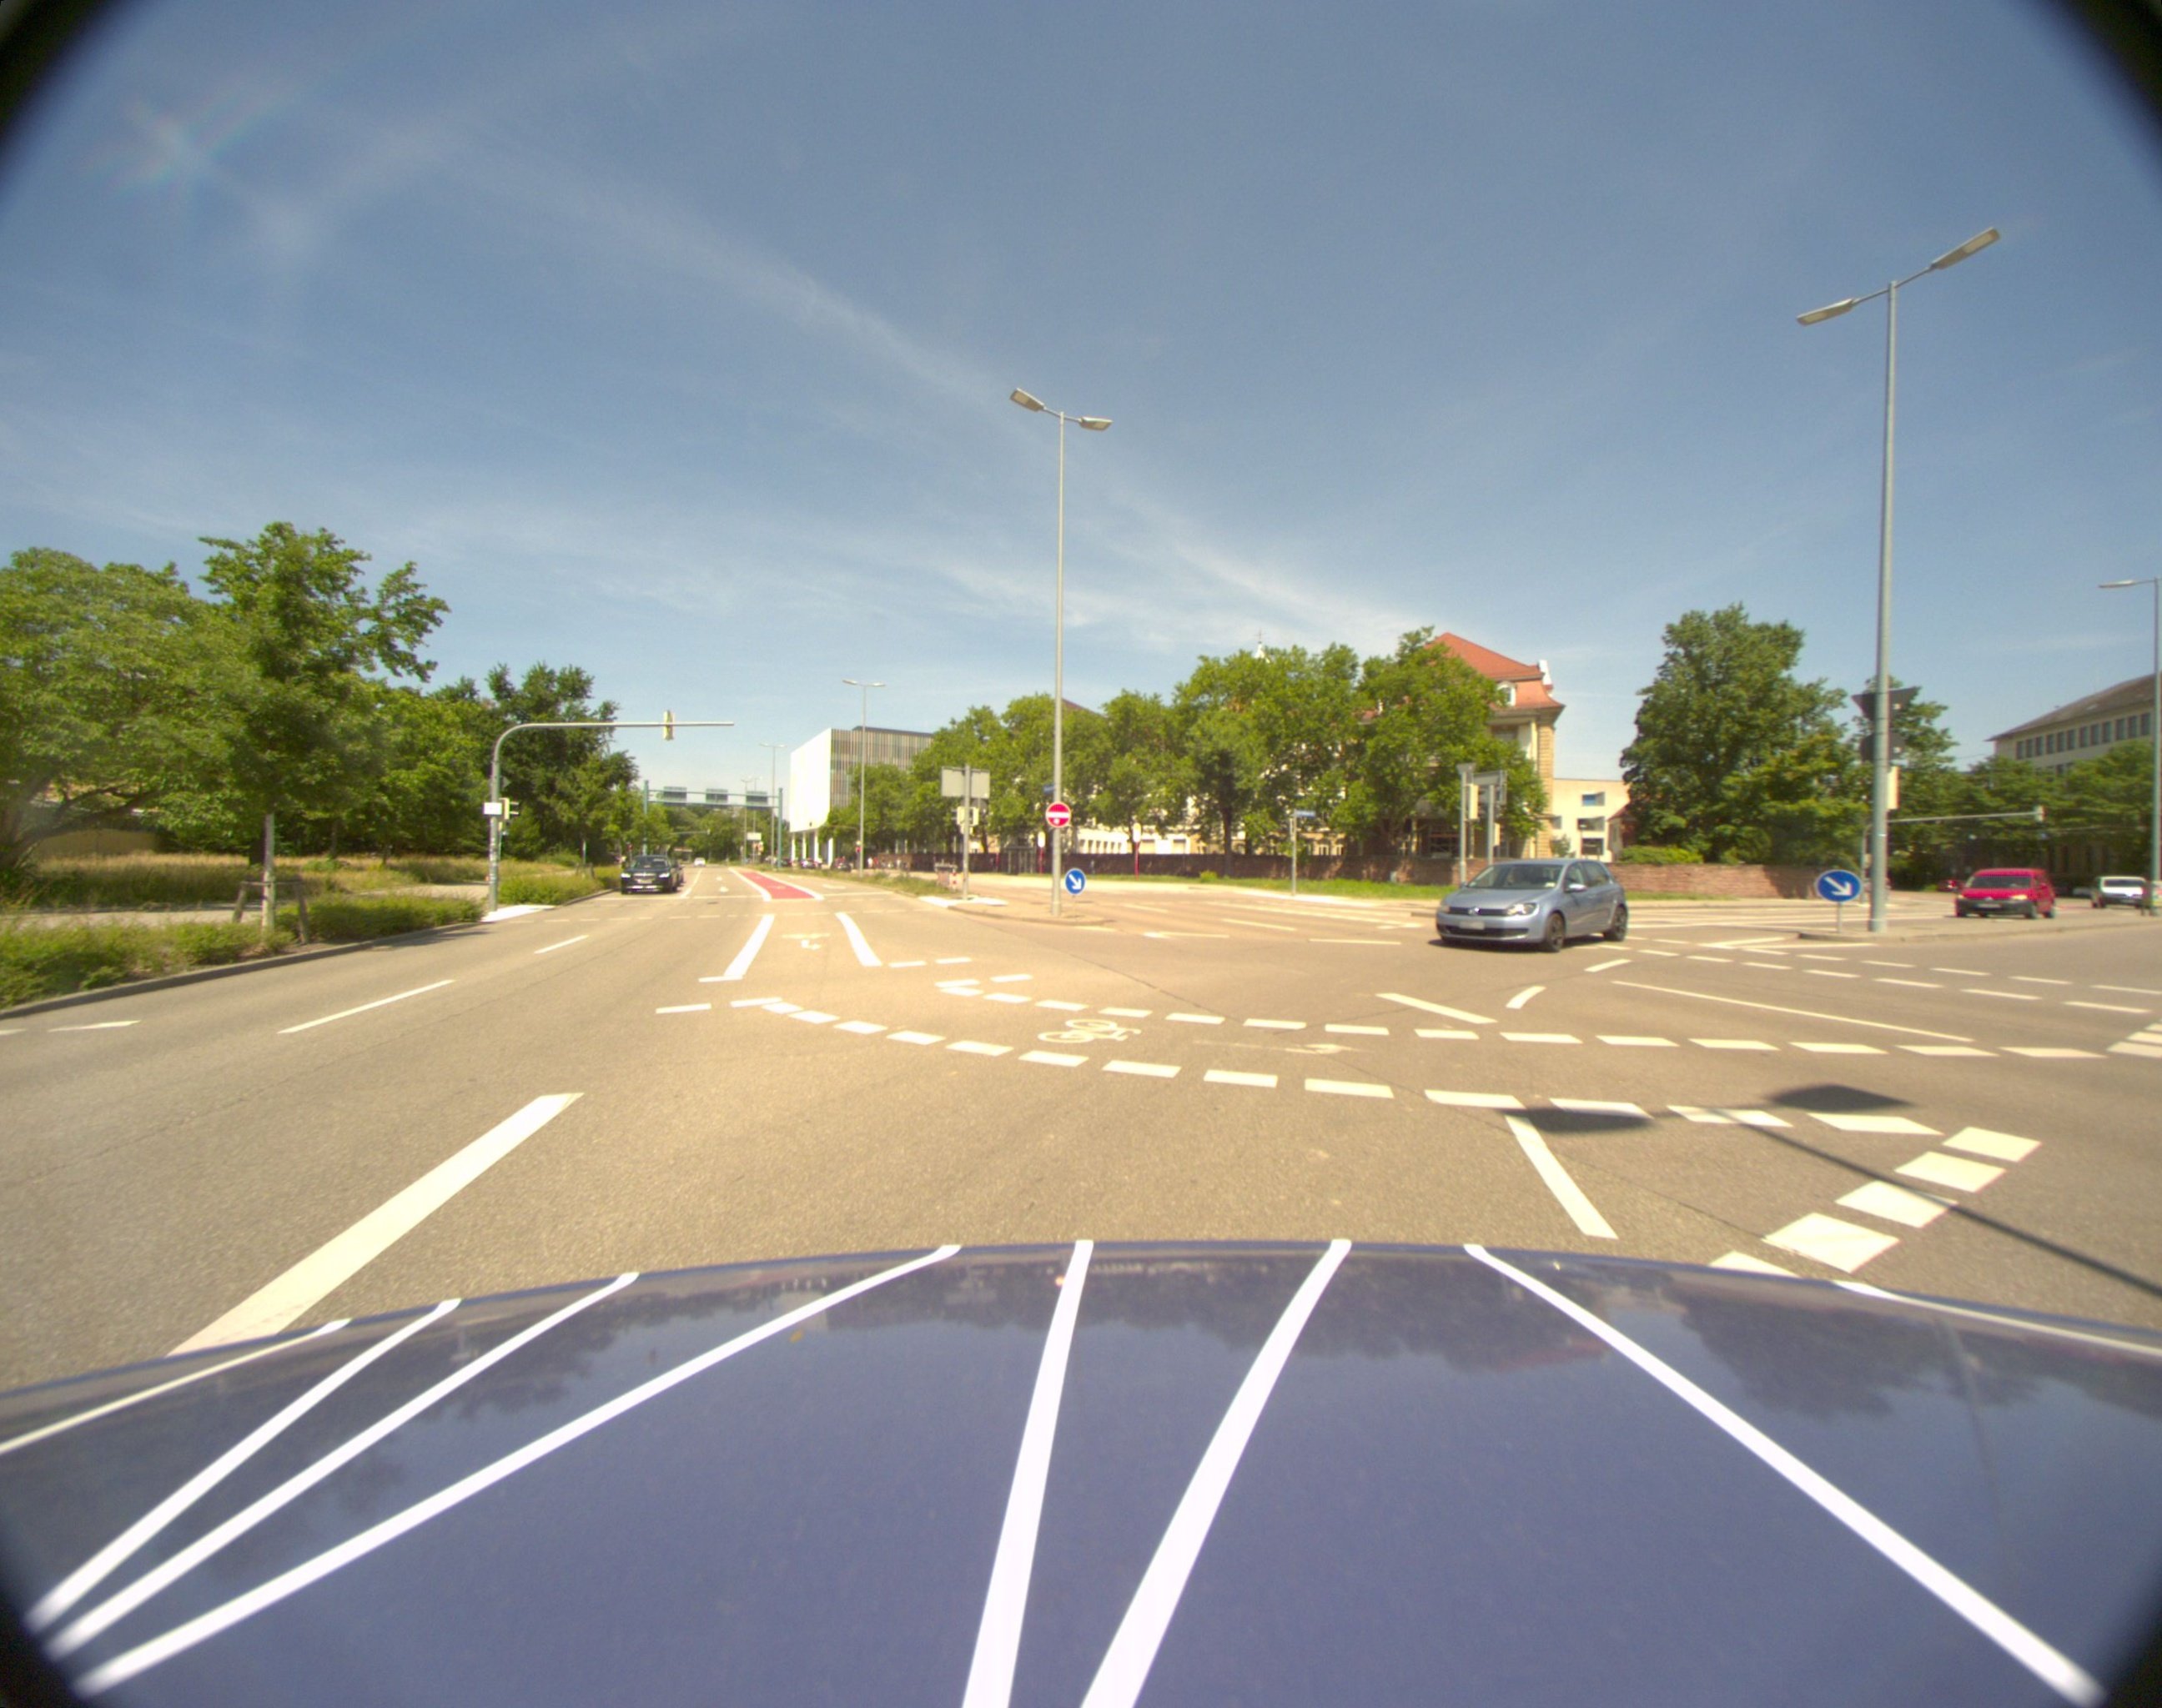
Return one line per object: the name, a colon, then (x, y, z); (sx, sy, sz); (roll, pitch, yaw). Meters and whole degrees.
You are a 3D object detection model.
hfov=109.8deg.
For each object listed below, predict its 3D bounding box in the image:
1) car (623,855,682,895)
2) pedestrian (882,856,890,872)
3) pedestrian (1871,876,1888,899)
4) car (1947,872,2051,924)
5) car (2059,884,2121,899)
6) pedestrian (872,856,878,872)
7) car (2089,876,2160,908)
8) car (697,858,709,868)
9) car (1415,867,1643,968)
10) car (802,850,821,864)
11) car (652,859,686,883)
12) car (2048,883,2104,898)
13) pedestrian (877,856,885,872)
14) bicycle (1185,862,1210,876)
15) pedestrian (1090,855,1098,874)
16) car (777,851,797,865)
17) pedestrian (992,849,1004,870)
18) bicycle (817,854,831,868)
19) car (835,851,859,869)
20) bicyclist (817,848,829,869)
car: (-18.589, 0.880, 33.147); (1.711, 1.577, 4.546); (1, 0, -23)
pedestrian: (-25.522, 1.338, 99.444); (0.790, 2.001, 0.838); (1, -2, -28)
pedestrian: (57.436, 2.413, 54.645); (0.603, 1.602, 0.559); (4, 0, 29)
car: (33.389, 1.551, 27.628); (4.287, 1.755, 1.830); (1, -2, -32)
car: (99.136, 3.702, 74.697); (3.547, 1.411, 1.573); (0, -2, 10)
pedestrian: (-26.750, 1.307, 98.605); (0.550, 2.001, 0.535); (1, -2, -28)
car: (64.130, 2.283, 46.685); (5.040, 1.784, 1.928); (1, 0, -29)
car: (-65.986, 1.625, 132.727); (1.739, 1.675, 3.907); (1, -2, -28)
car: (7.591, 0.935, 12.762); (4.002, 1.406, 1.828); (1, 0, -36)
car: (-33.921, 0.377, 95.495); (1.784, 1.673, 3.993); (1, -2, -26)
car: (-25.576, 1.072, 47.116); (1.763, 1.430, 3.992); (1, -2, -30)
car: (99.900, 3.686, 76.308); (3.146, 1.453, 1.573); (0, -2, 8)
pedestrian: (-26.153, 1.327, 99.165); (0.790, 2.001, 0.962); (1, -2, -28)
bicycle: (10.049, 1.308, 65.557); (2.164, 1.175, 0.459); (-1, -2, 33)
pedestrian: (1.251, 0.999, 71.815); (0.525, 1.710, 0.590); (-1, -2, 37)
car: (-36.465, 0.503, 94.147); (1.781, 1.658, 3.991); (1, -2, -30)
pedestrian: (-8.904, 0.582, 81.448); (0.851, 2.276, 1.072); (2, -2, -43)
bicycle: (-23.112, 0.638, 68.346); (0.522, 1.229, 2.186); (1, -2, -37)
car: (-27.531, 0.712, 89.340); (2.003, 2.001, 4.206); (1, -2, -28)
bicyclist: (-23.176, 0.420, 68.321); (0.710, 1.875, 1.136); (1, -2, -38)
